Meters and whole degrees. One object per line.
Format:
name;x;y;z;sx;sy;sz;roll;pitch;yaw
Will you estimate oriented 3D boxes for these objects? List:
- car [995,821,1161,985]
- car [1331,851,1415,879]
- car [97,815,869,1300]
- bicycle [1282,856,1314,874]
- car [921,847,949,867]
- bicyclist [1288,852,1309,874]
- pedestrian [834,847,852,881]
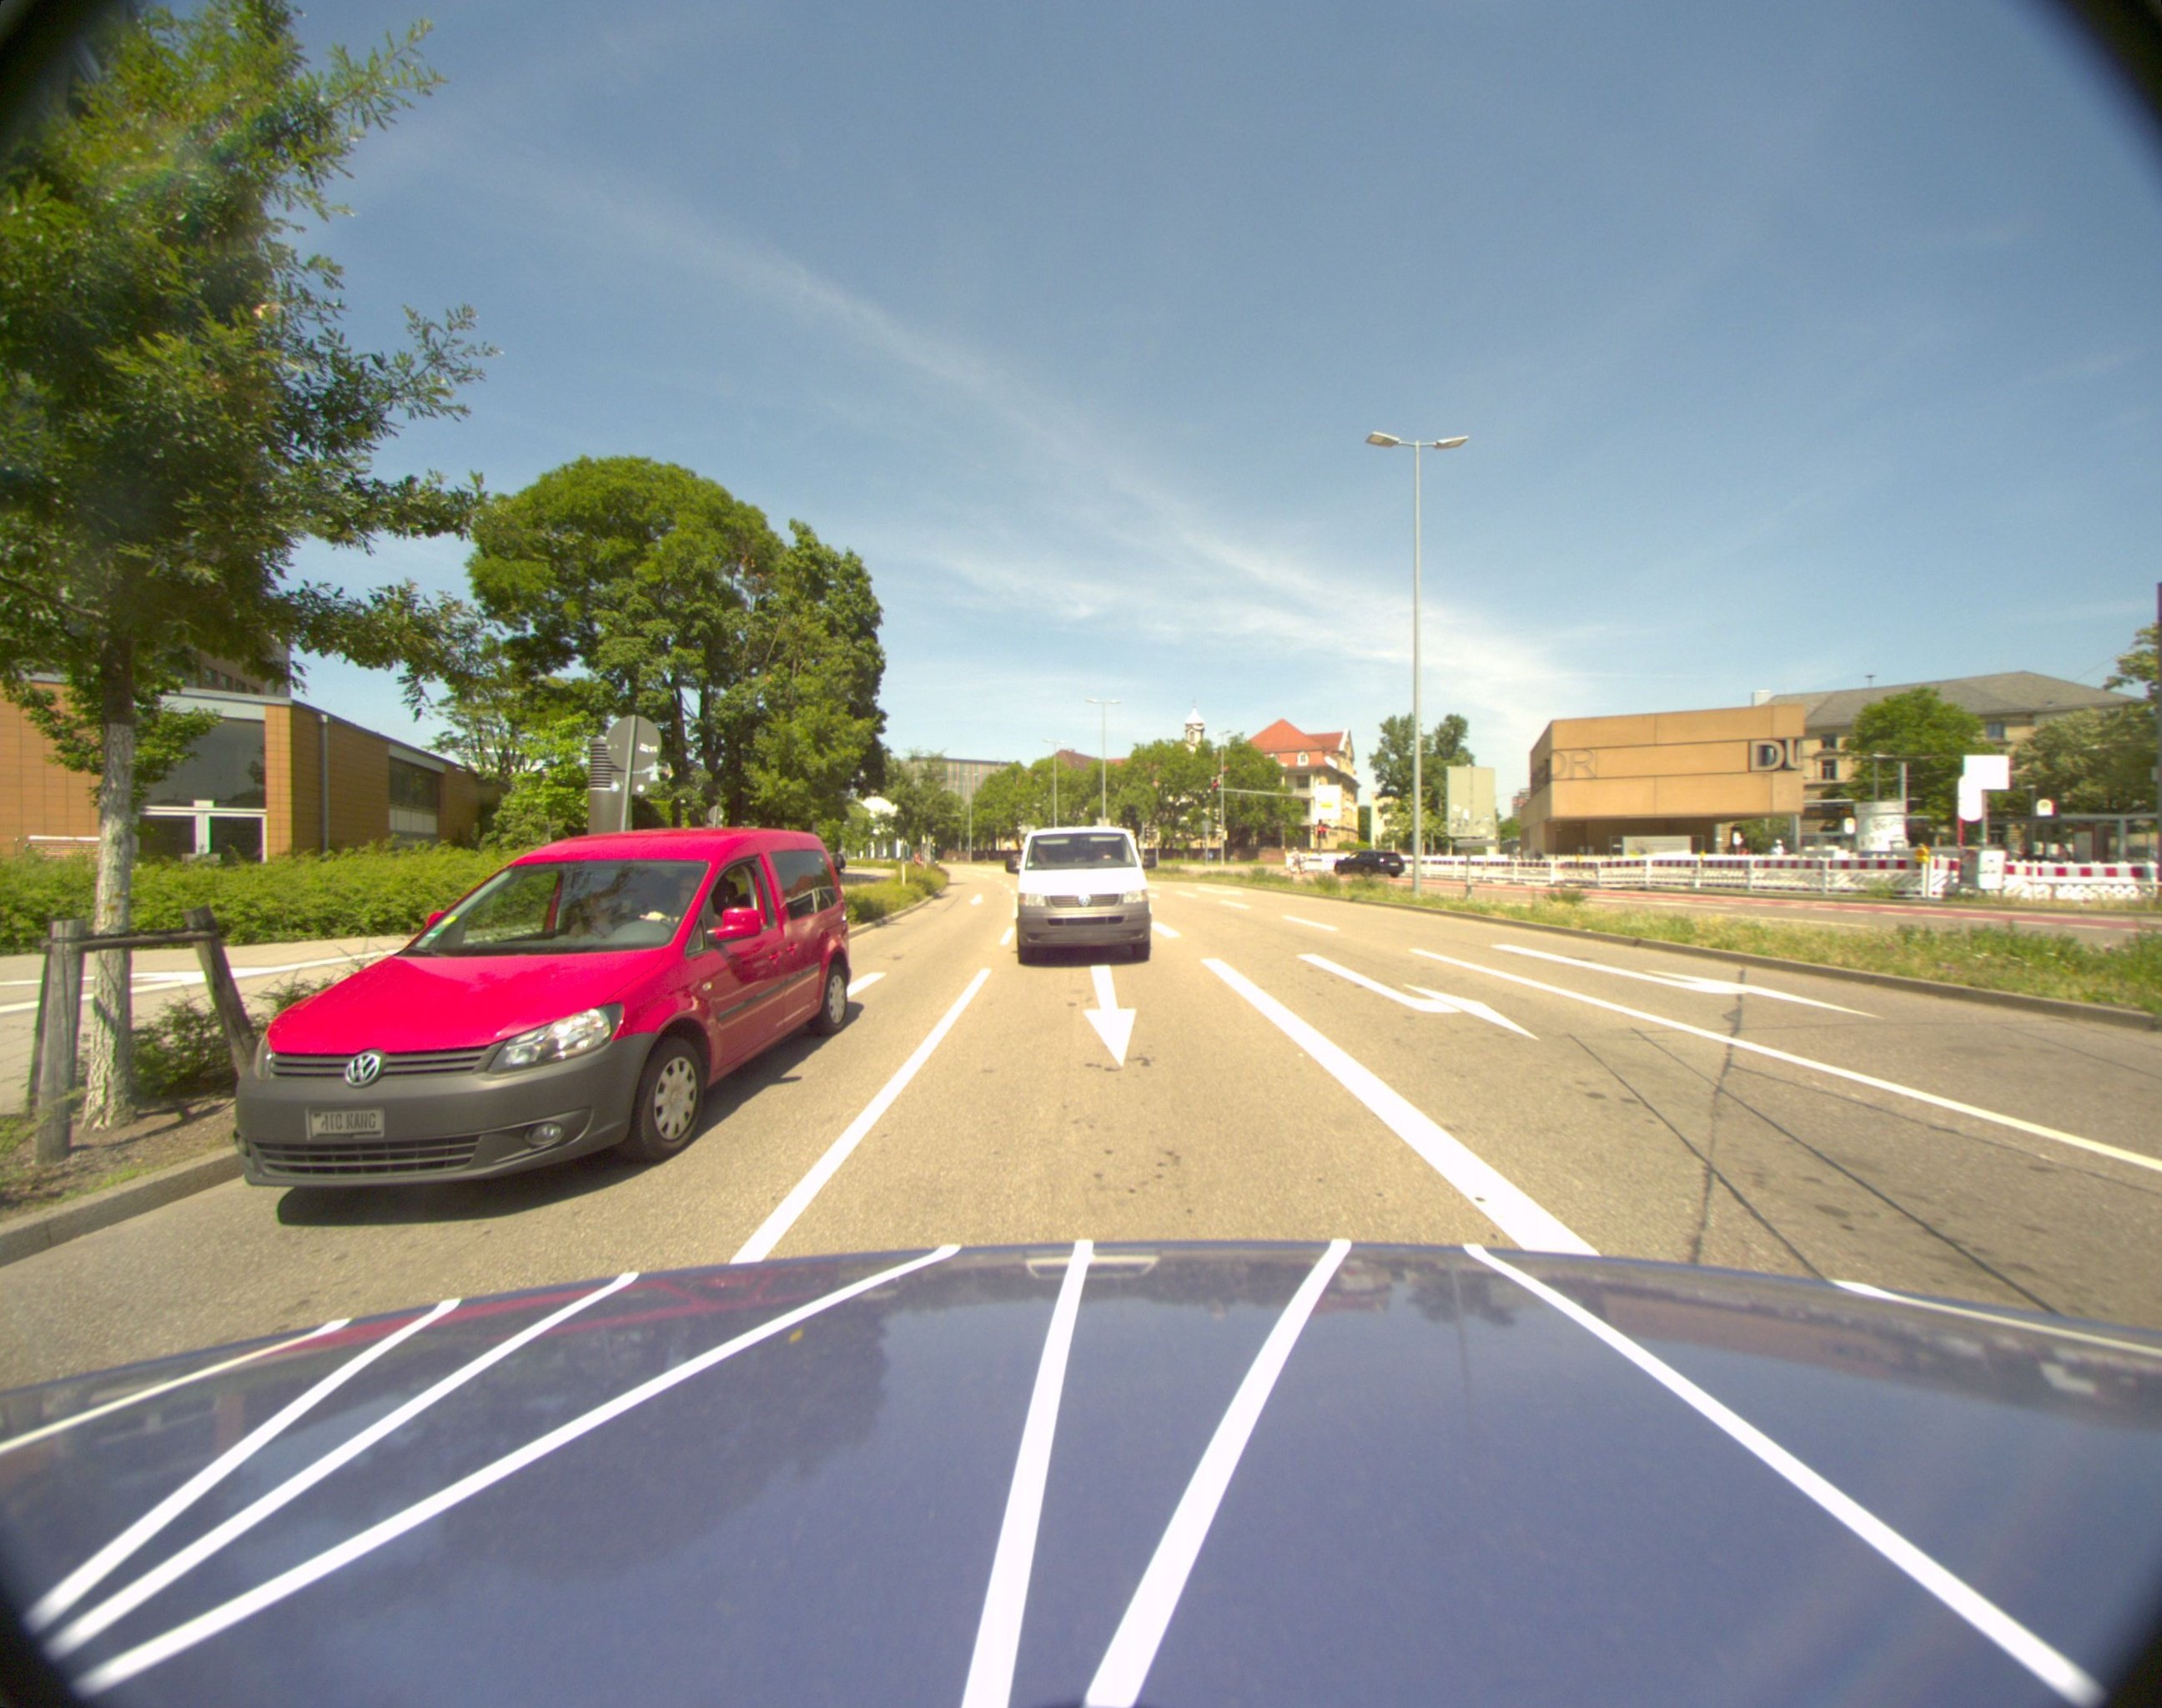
car;-0.061;0.584;11.772;1.971;1.958;4.848;-2;1;-1
car;16.036;0.580;42.083;2.001;1.456;4.840;0;0;-12
car;-2.941;0.783;5.214;1.655;1.848;4.545;-1;0;0
bicycle;13.537;0.666;47.558;0.879;1.066;2.229;-3;1;-15
car;-15.198;0.344;78.905;2.002;2.002;3.992;0;0;-23
bicyclist;13.554;0.566;47.396;0.587;1.348;1.437;-3;1;-15
pedestrian;-12.787;0.539;40.807;0.728;1.787;0.614;0;1;0
